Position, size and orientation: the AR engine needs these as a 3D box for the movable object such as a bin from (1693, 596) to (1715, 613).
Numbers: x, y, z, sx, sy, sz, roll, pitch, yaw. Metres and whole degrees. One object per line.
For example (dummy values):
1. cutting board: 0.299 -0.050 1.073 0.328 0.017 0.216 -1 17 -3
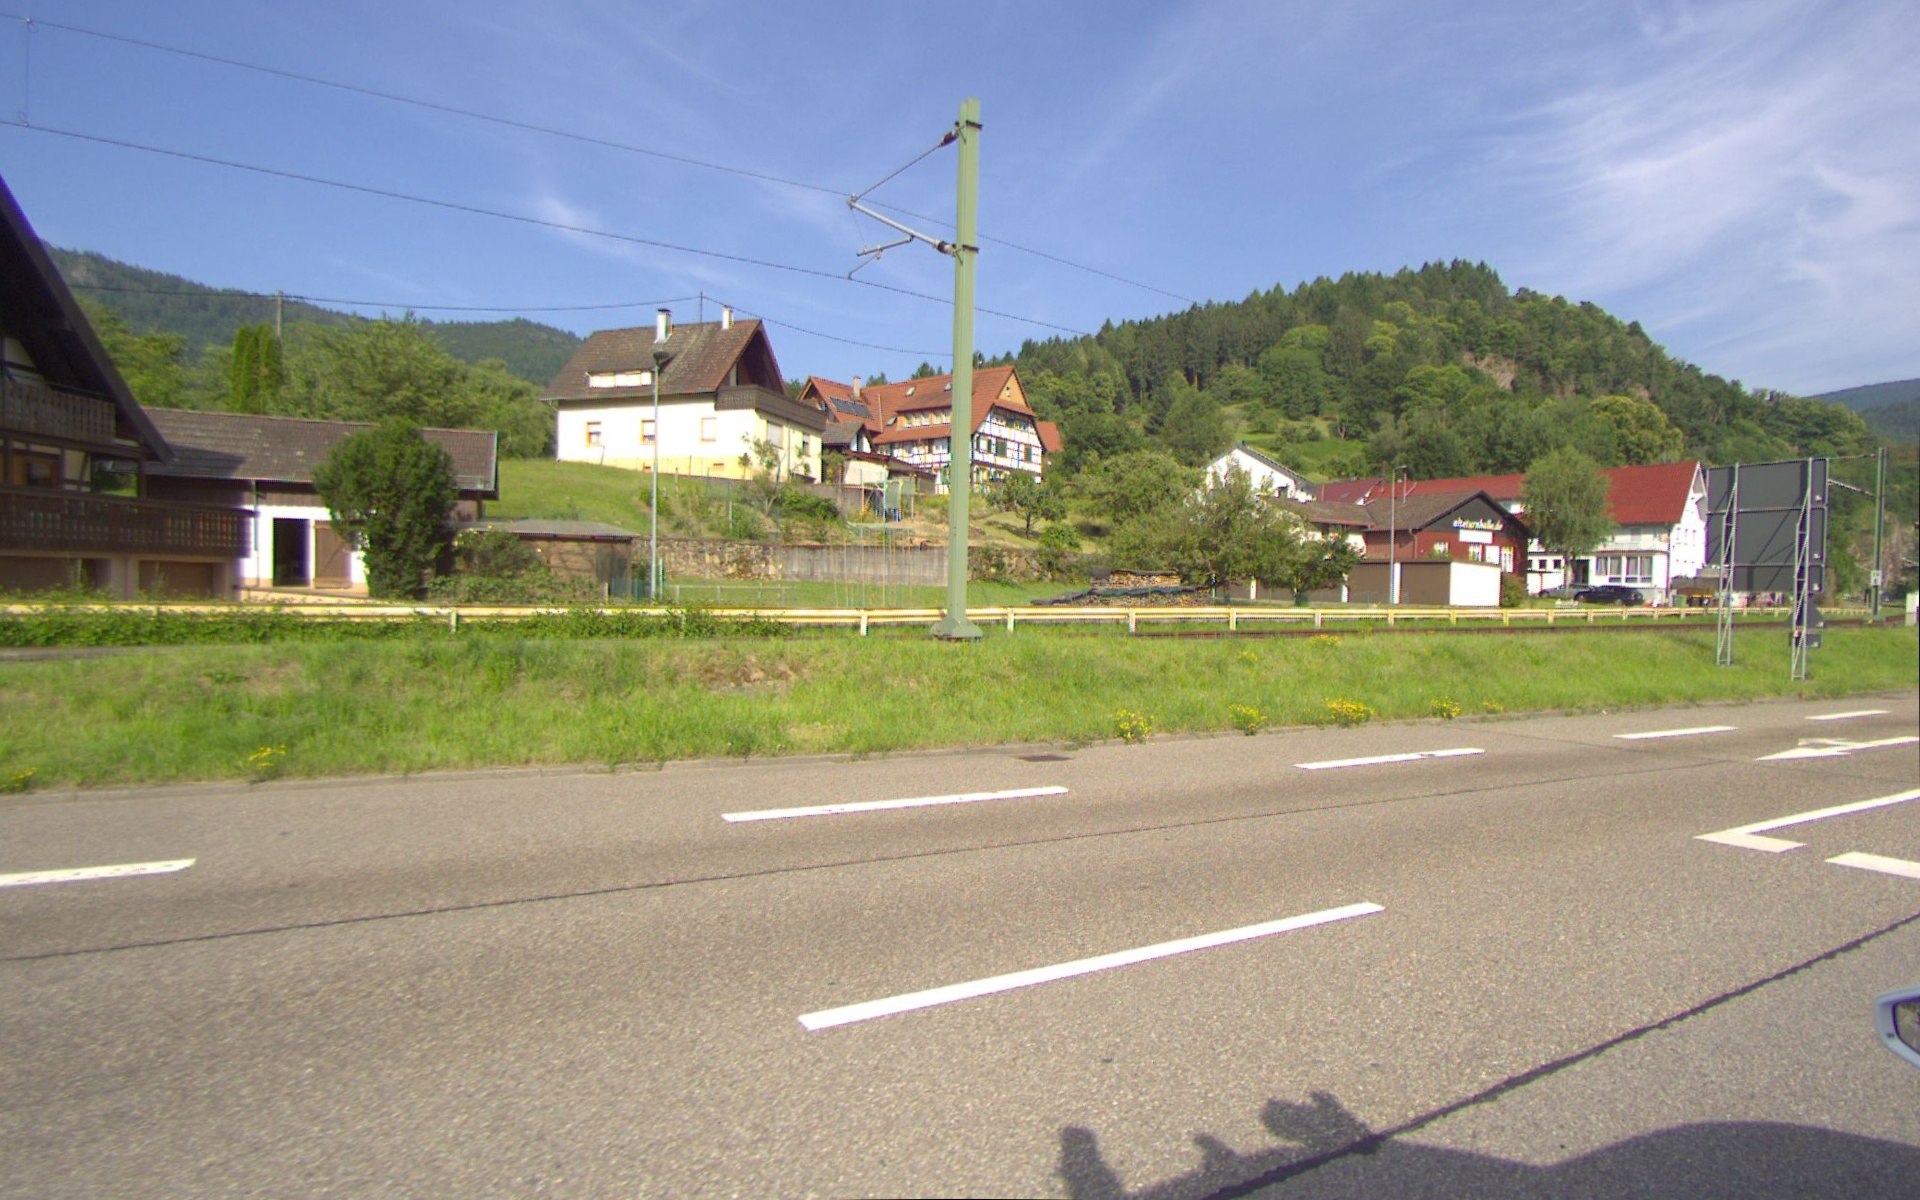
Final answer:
1. movable object such as a bin: 56.515 0.352 76.270 1.134 1.208 1.080 1 1 -41

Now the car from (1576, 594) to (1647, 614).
1. car: 48.126 0.291 74.293 1.721 1.287 4.062 1 1 -39

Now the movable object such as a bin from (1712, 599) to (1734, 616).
1. movable object such as a bin: 57.326 0.555 75.452 1.134 1.208 1.080 1 1 -41

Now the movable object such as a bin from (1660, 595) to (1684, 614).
1. movable object such as a bin: 47.675 0.330 67.301 1.127 1.208 1.087 3 1 44

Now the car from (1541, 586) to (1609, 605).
1. car: 48.241 -0.331 78.802 1.740 1.347 4.217 1 1 -40
